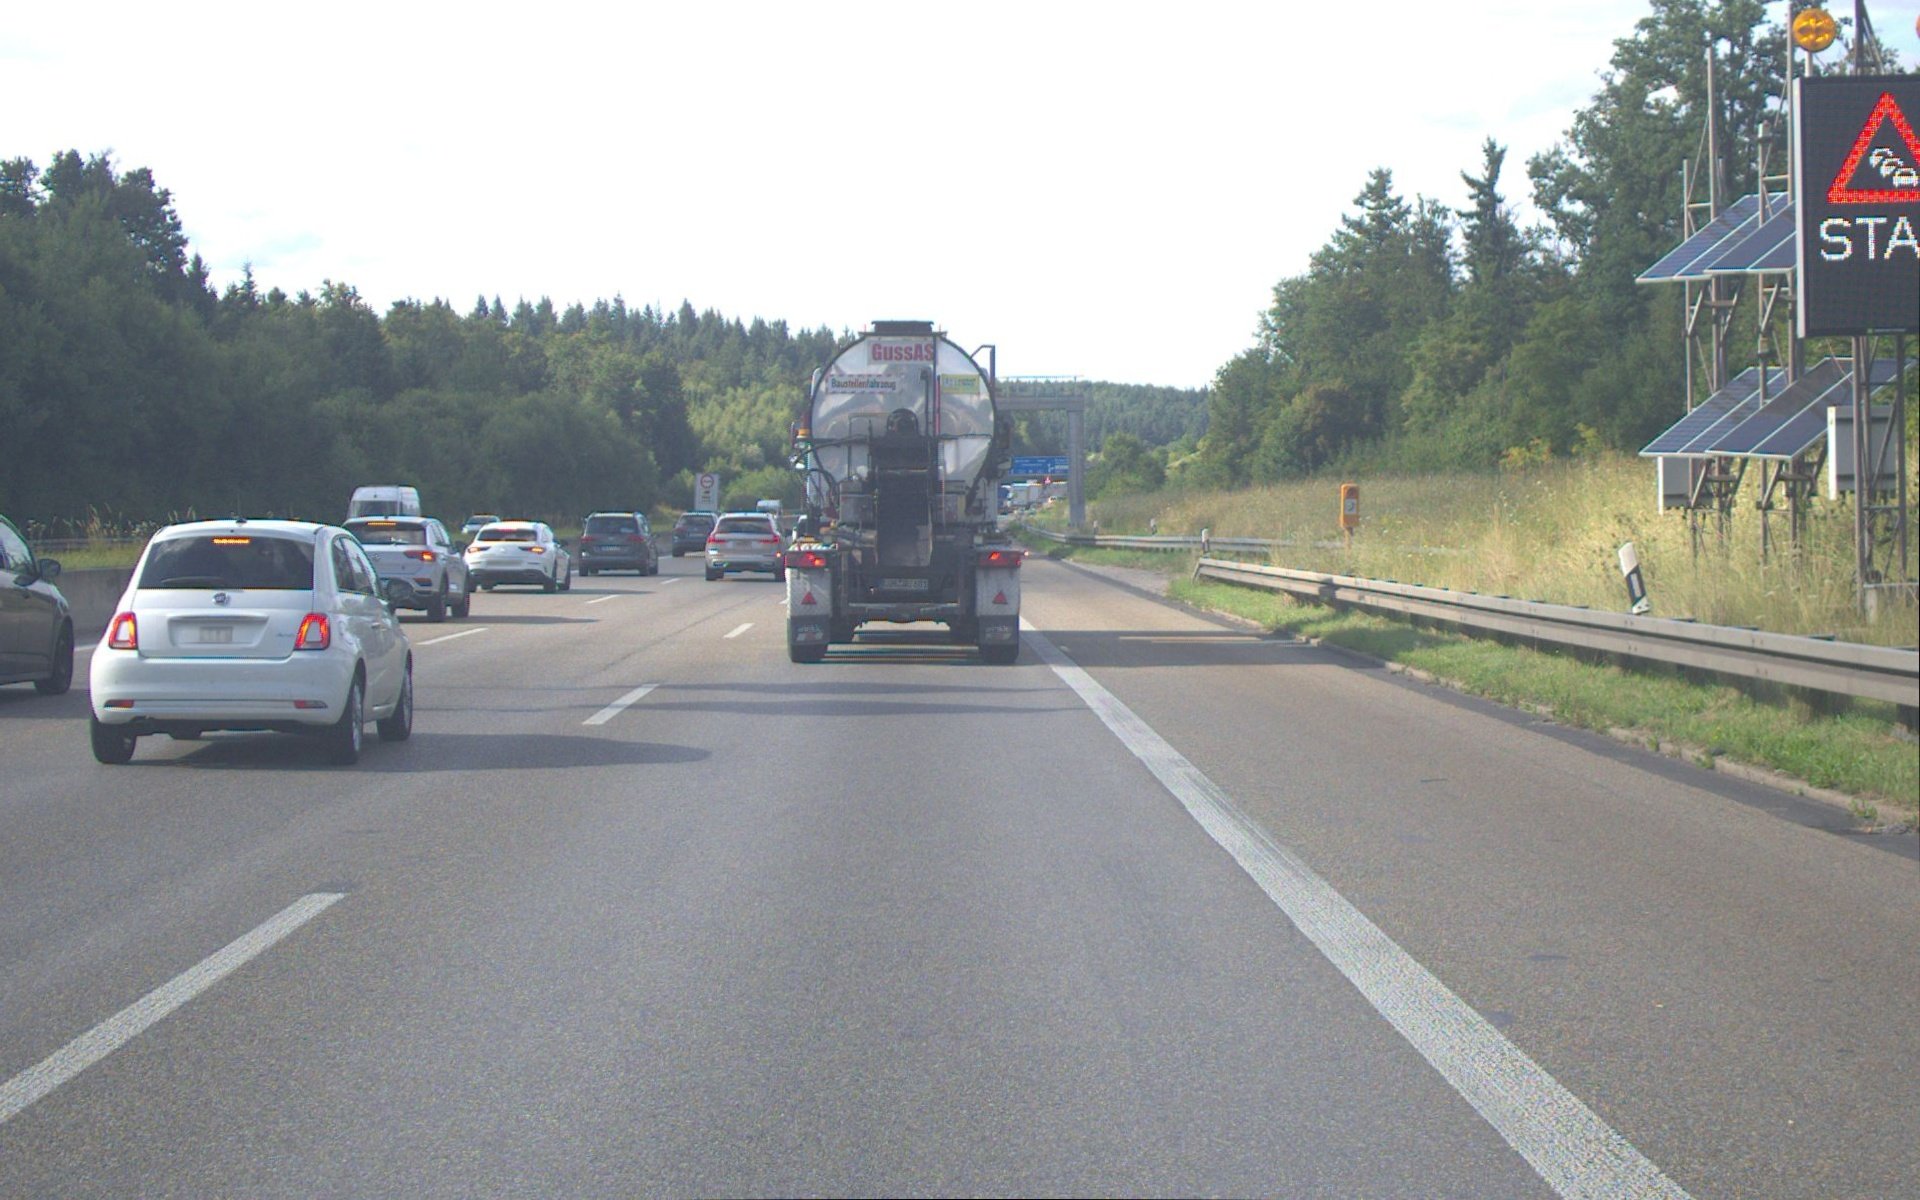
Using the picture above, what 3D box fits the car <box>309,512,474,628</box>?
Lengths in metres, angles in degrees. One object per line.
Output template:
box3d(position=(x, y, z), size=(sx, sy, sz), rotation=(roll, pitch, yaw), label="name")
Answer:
box3d(position=(-8.370, -0.477, 50.908), size=(1.806, 1.580, 4.207), rotation=(1, 2, -1), label="car")

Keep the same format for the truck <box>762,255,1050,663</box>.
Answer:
box3d(position=(-0.574, -1.588, 40.711), size=(2.912, 4.143, 11.270), rotation=(0, 1, 0), label="truck")

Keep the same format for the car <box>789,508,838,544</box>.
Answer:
box3d(position=(-6.117, -3.109, 143.974), size=(1.942, 1.451, 4.207), rotation=(1, 2, -1), label="car")

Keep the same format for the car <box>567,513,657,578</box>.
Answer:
box3d(position=(-8.999, -1.430, 89.113), size=(1.942, 1.580, 4.207), rotation=(1, 2, -1), label="car")

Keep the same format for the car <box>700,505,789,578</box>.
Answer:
box3d(position=(-5.184, -1.444, 83.289), size=(1.942, 1.649, 4.207), rotation=(1, 2, -1), label="car")

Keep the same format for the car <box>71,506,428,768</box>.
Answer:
box3d(position=(-4.505, 0.184, 22.238), size=(1.618, 1.539, 3.520), rotation=(1, 1, -1), label="car")

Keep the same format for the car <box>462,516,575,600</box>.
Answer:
box3d(position=(-8.924, -0.886, 69.774), size=(1.806, 1.580, 4.207), rotation=(1, 2, -1), label="car")

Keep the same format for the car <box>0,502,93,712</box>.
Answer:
box3d(position=(-8.305, 0.026, 27.352), size=(1.806, 1.580, 4.207), rotation=(1, 2, -1), label="car")

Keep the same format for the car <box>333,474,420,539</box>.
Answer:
box3d(position=(-21.330, -3.415, 125.933), size=(2.109, 2.304, 6.725), rotation=(0, 1, -1), label="car")

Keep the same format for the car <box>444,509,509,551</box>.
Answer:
box3d(position=(-25.144, -3.662, 178.849), size=(2.579, 2.131, 5.966), rotation=(0, 1, 0), label="car")

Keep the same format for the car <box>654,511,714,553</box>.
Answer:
box3d(position=(-10.232, -2.527, 127.498), size=(1.942, 1.451, 4.207), rotation=(1, 2, -1), label="car")
